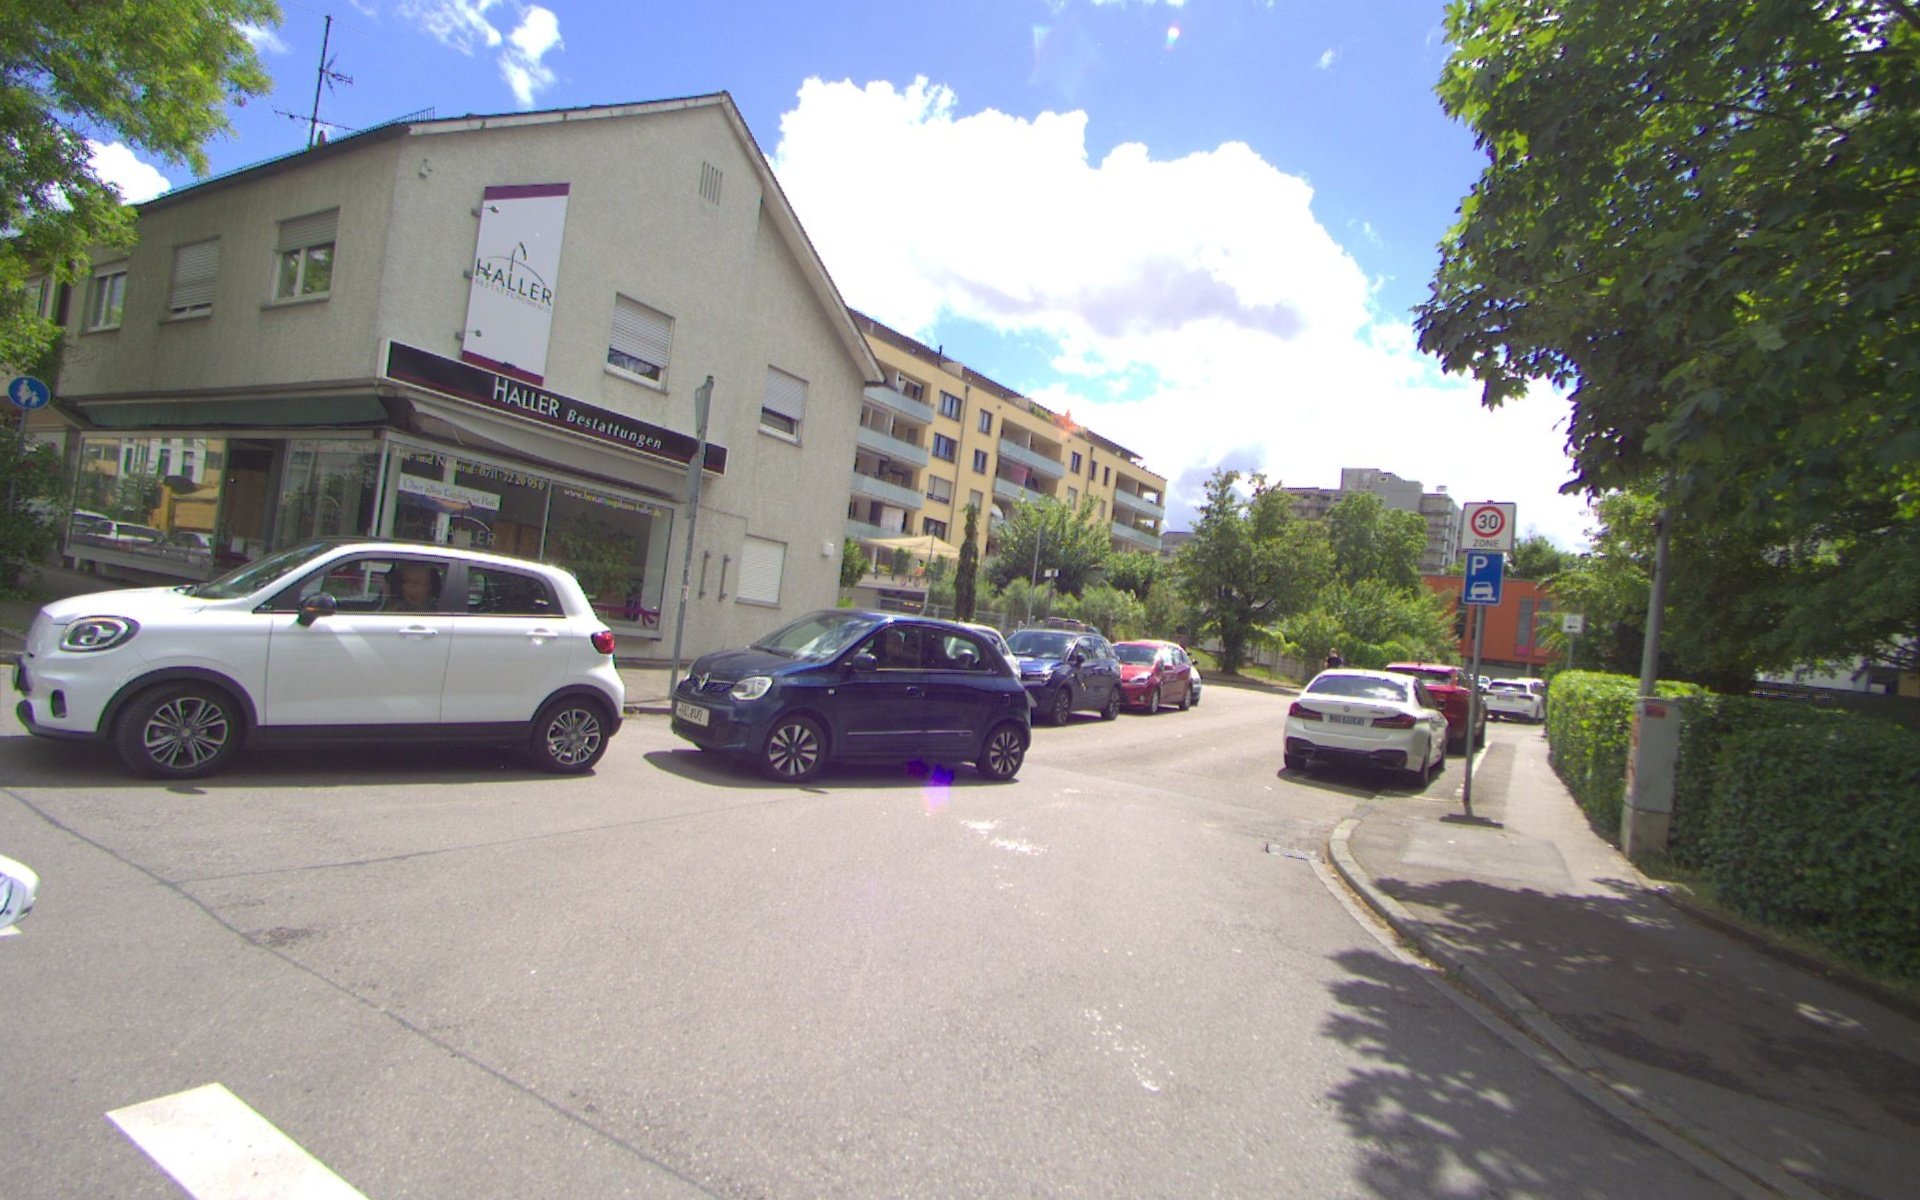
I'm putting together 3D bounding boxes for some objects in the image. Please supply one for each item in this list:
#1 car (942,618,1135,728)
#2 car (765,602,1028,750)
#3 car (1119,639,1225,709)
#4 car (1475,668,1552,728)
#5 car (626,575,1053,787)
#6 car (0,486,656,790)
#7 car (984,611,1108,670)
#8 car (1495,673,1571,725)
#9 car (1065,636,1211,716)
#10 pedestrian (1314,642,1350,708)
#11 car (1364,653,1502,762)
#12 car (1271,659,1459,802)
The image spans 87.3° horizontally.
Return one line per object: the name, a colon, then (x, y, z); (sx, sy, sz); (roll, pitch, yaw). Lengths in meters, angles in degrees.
car: (1.512, 1.285, 17.896); (1.880, 1.590, 3.916); (4, -2, 29)
car: (-0.695, 1.034, 13.921); (1.771, 1.537, 3.935); (7, -1, 26)
car: (5.522, 1.894, 26.667); (1.763, 1.449, 3.777); (6, -1, -2)
car: (19.587, 3.450, 35.504); (1.822, 1.708, 4.525); (7, 0, 34)
car: (-1.060, 0.812, 9.794); (3.624, 1.590, 1.820); (8, -1, -42)
car: (-4.347, 0.315, 7.176); (1.818, 1.590, 3.630); (6, -1, 44)
car: (3.292, 1.545, 38.680); (4.244, 1.768, 1.794); (6, 0, 27)
car: (23.038, 3.972, 40.310); (1.824, 1.708, 5.449); (7, 0, 37)
car: (4.107, 1.688, 22.654); (1.766, 1.449, 4.312); (6, -1, 30)
pedestrian: (11.589, 2.325, 31.358); (0.669, 1.937, 0.574); (8, -2, -1)
car: (9.633, 2.114, 20.315); (1.797, 1.733, 4.236); (7, 0, 33)
car: (6.091, 1.800, 14.796); (1.821, 1.522, 4.530); (7, 0, 30)
